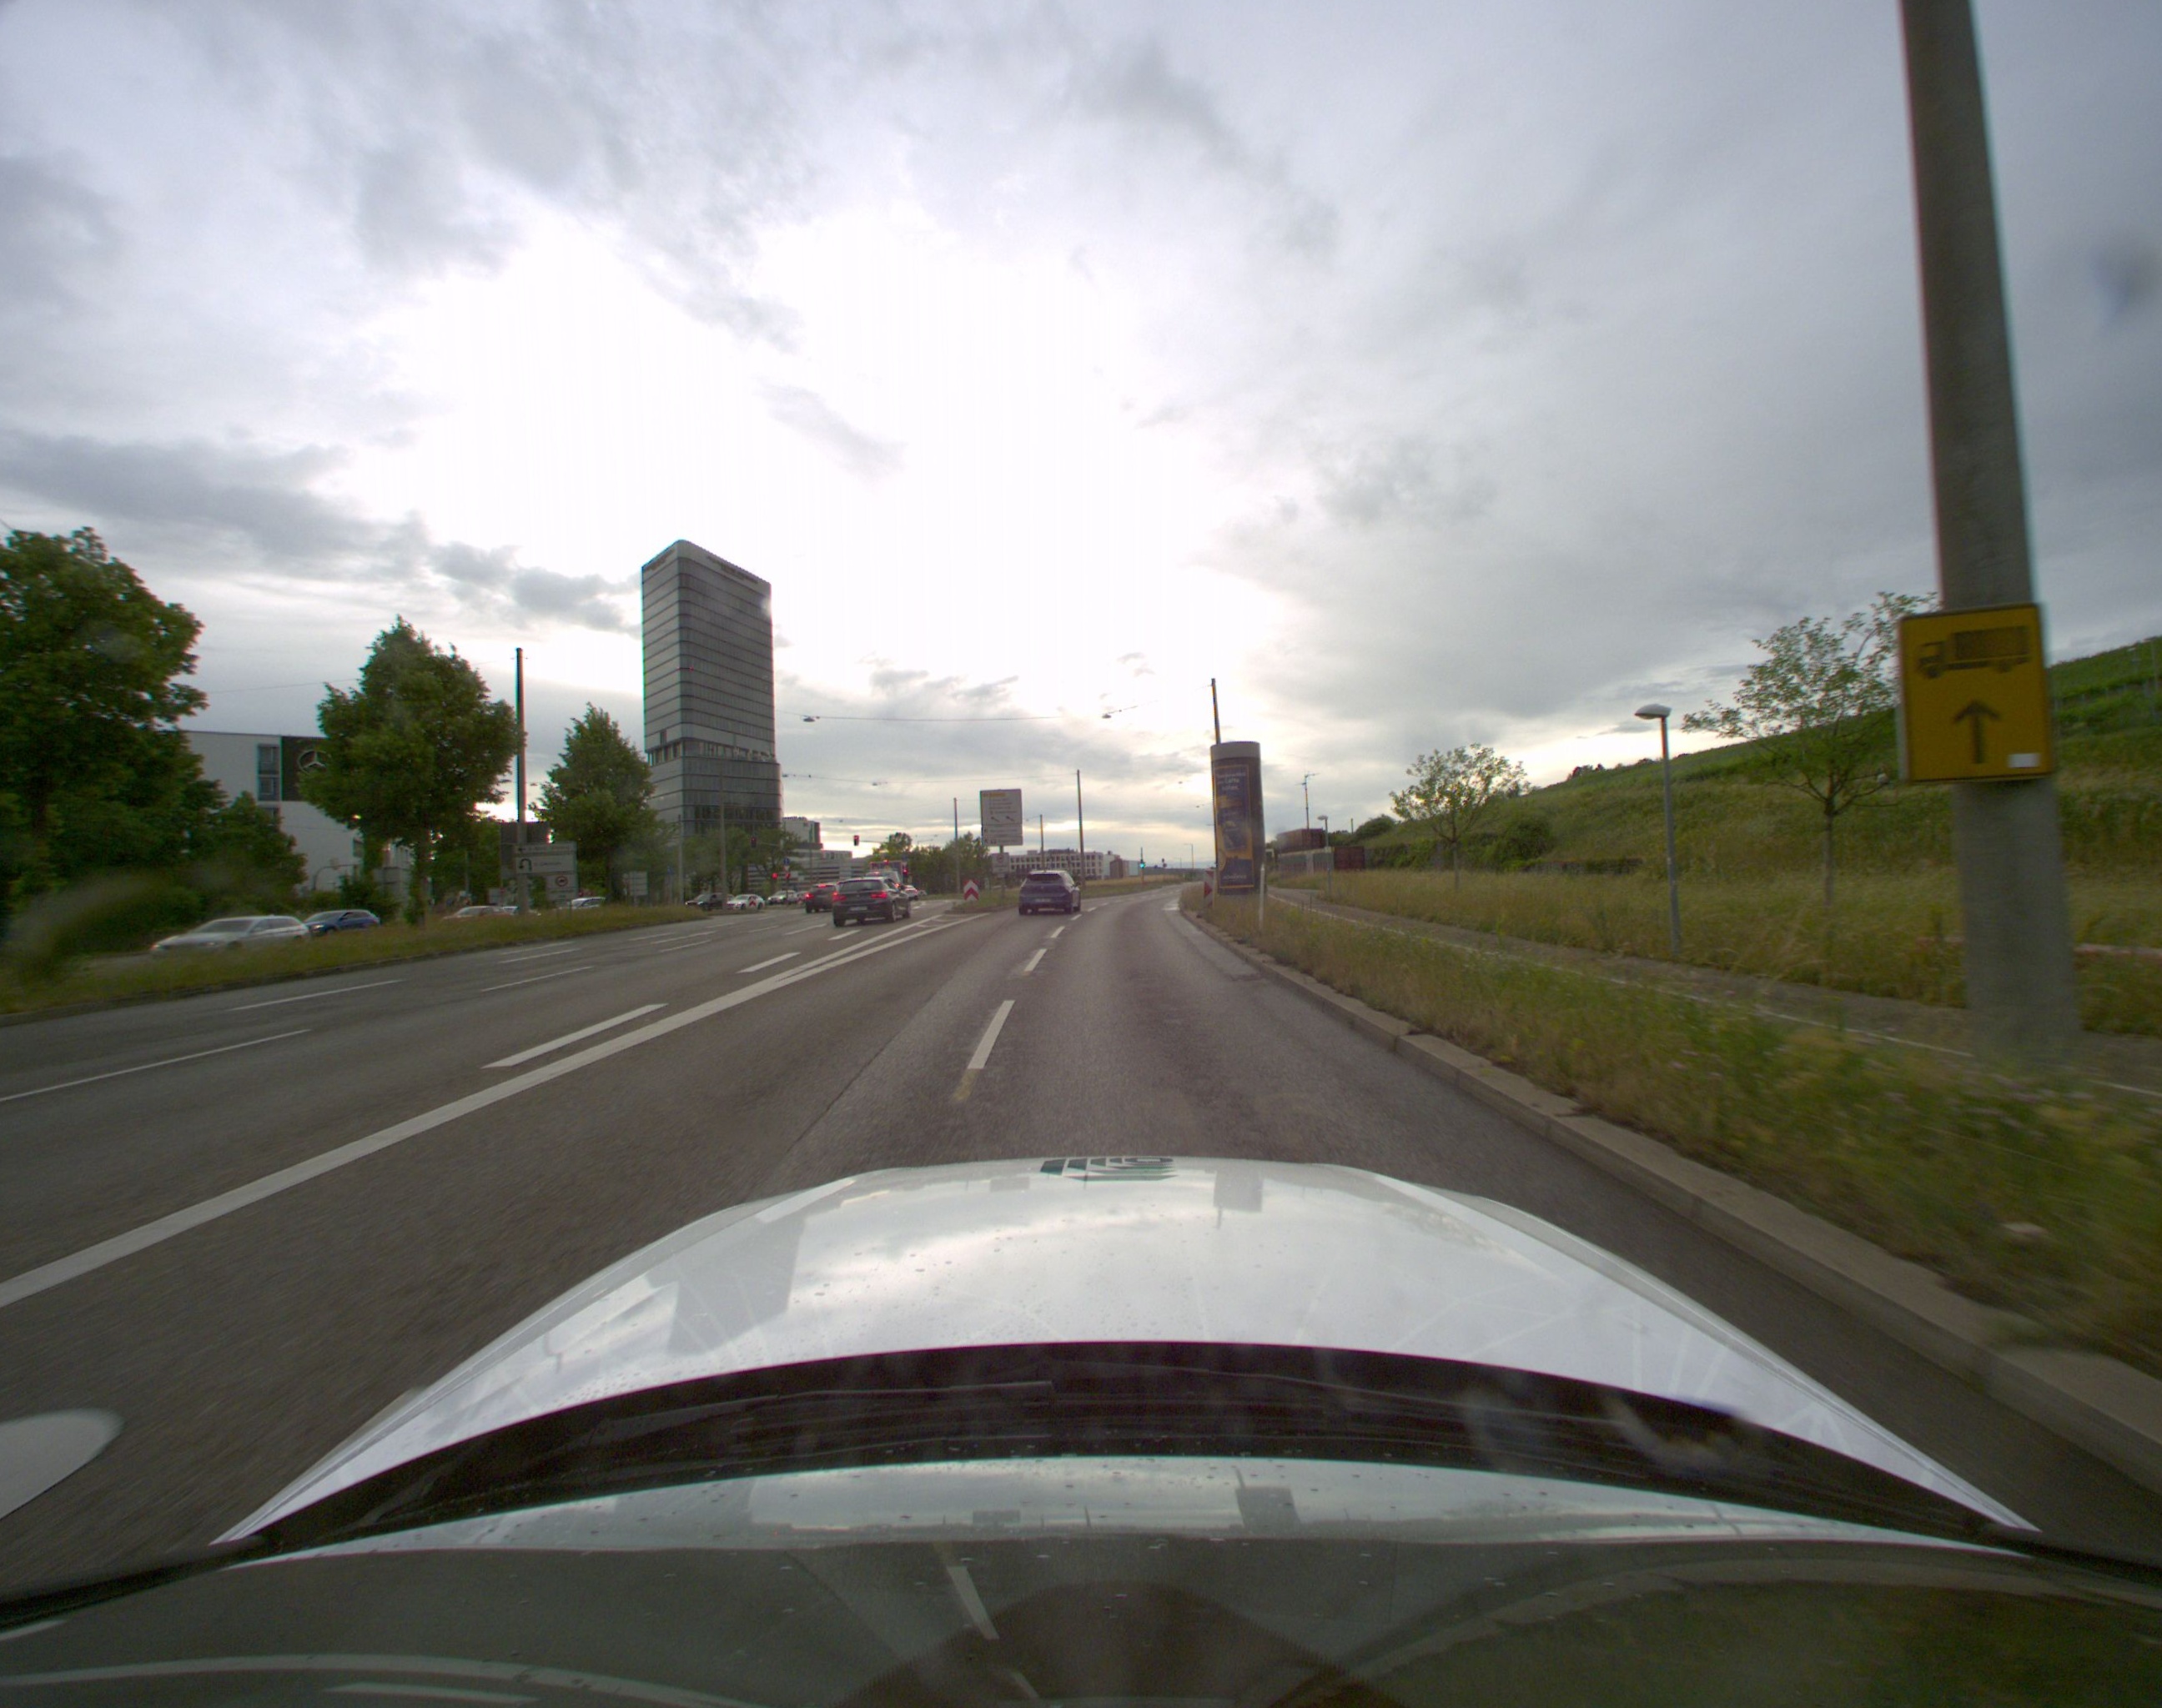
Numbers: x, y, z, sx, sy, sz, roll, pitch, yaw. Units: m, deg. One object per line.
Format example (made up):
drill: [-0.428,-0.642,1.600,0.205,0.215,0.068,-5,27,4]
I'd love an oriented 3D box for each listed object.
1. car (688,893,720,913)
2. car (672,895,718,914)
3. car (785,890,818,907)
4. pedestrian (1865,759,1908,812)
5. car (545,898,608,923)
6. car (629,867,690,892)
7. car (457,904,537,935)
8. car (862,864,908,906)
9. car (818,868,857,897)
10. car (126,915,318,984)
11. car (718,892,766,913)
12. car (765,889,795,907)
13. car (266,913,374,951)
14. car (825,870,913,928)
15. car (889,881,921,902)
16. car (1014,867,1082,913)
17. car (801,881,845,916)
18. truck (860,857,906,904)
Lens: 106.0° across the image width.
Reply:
car: [-40.814,5.284,88.138,1.590,1.816,3.539,-2,0,4]
car: [-35.181,4.549,74.315,1.923,1.484,4.580,-2,-1,1]
car: [-31.095,4.913,90.681,1.817,1.657,3.923,-2,-1,10]
pedestrian: [32.512,-2.765,32.879,0.784,2.013,1.044,-4,1,-35]
car: [-39.788,4.407,64.381,1.987,1.671,4.744,-1,-1,0]
car: [-31.138,1.842,60.336,1.885,1.658,4.609,-2,-1,3]
car: [-37.880,4.241,52.992,1.989,1.671,4.738,-1,-1,-4]
car: [-10.349,1.659,43.259,1.904,1.973,5.075,-3,-2,-9]
car: [-14.811,1.716,49.672,1.839,1.681,4.056,1,-1,-11]
car: [-29.282,3.180,28.055,1.994,1.771,4.854,-2,-1,-10]
car: [-31.068,4.420,74.798,1.882,1.658,4.615,-2,-2,8]
car: [-34.253,4.971,92.898,1.756,1.838,3.760,-2,-1,4]
car: [-37.222,3.777,39.988,1.875,1.442,3.970,-2,-1,-8]
car: [-6.499,1.323,25.378,1.865,1.461,3.971,-2,1,-4]
car: [-15.958,3.407,73.747,1.928,1.644,4.355,-1,-3,-24]
car: [-1.058,1.206,27.975,1.830,1.394,4.004,-2,-2,4]
car: [-13.125,2.252,41.611,1.908,1.564,3.979,-3,-2,-15]
truck: [-14.535,1.932,59.489,2.675,3.220,6.505,-1,-2,-19]
